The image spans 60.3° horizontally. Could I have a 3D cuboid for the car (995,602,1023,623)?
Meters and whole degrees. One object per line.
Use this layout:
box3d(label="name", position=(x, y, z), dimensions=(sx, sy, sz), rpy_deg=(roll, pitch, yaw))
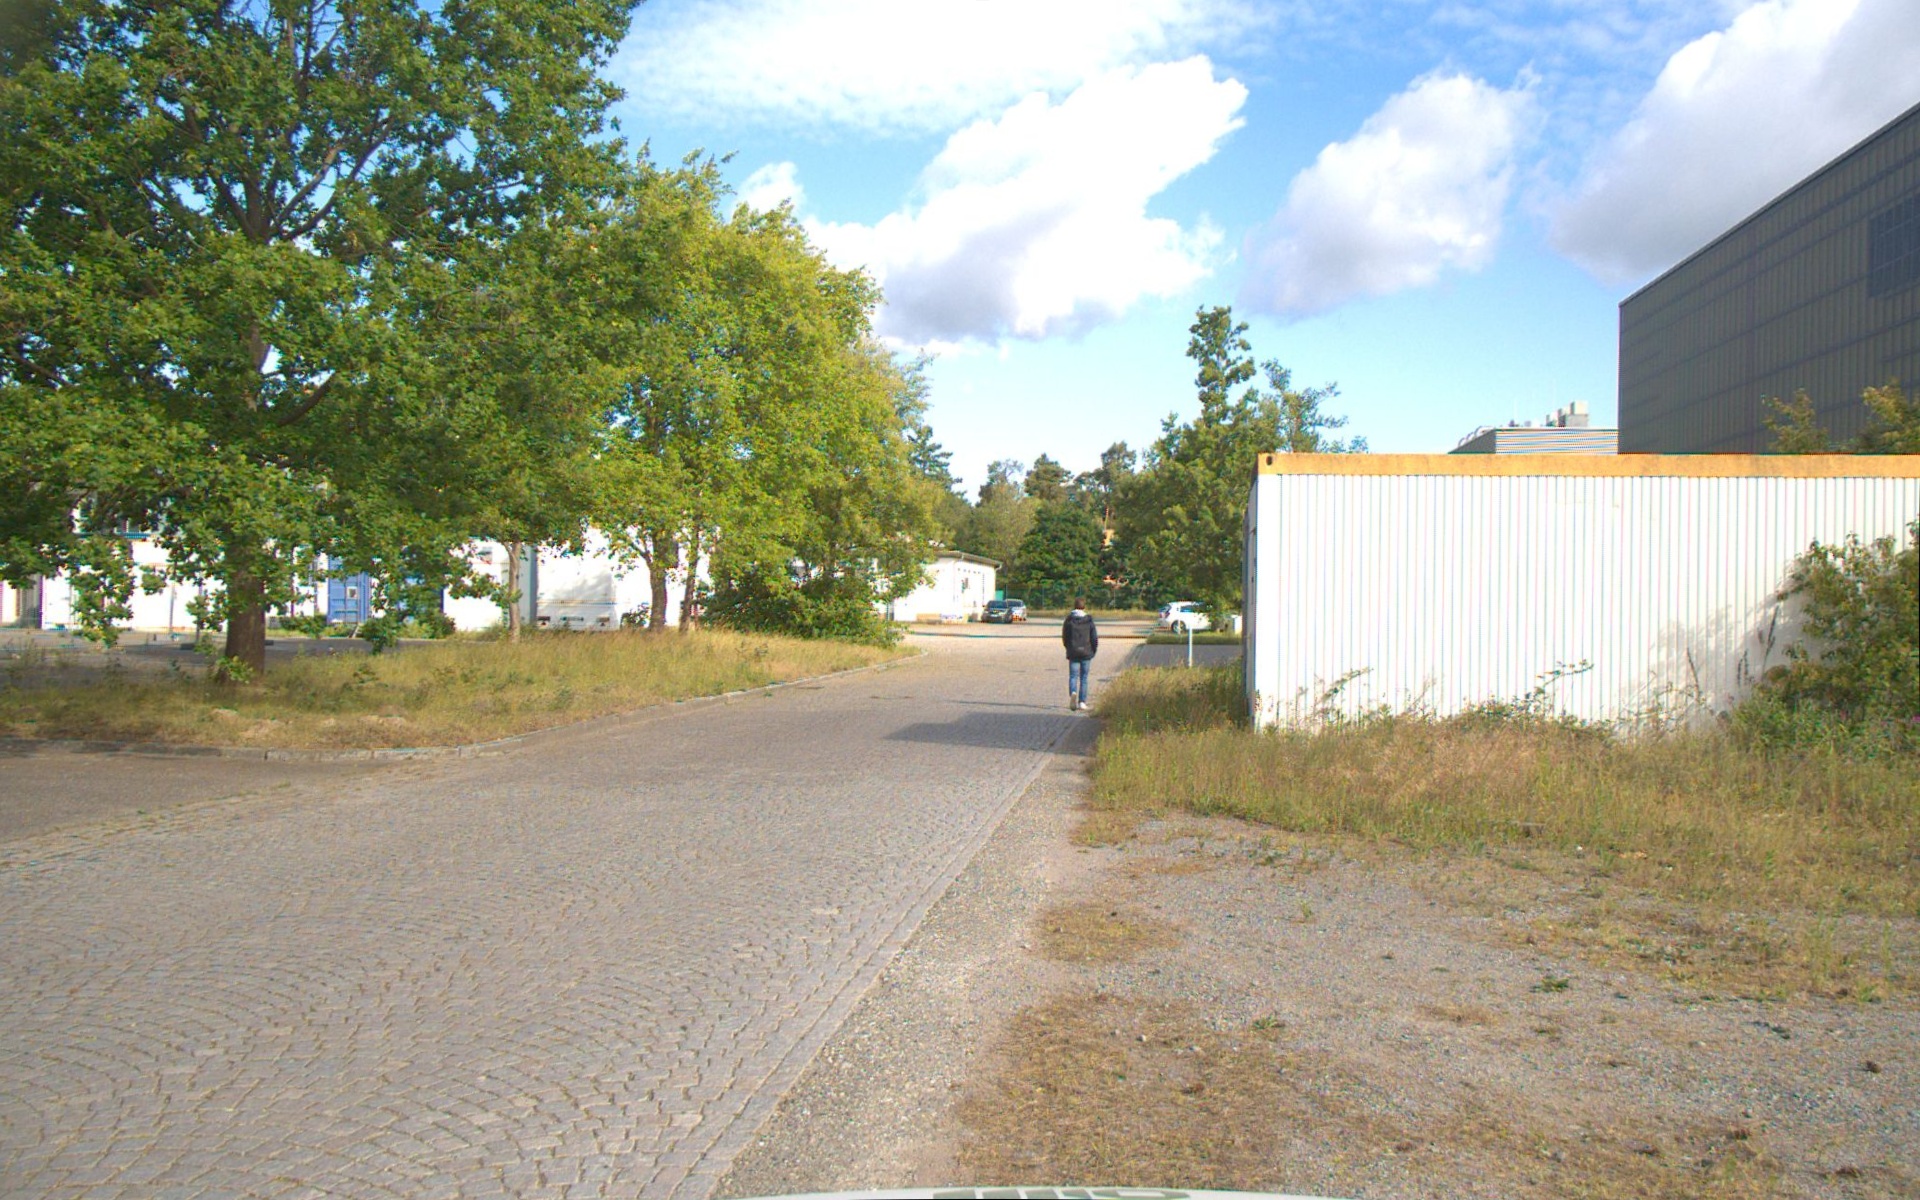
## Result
box3d(label="car", position=(3.440, 0.877, 117.008), dimensions=(1.952, 1.400, 4.000), rpy_deg=(1, 0, 1))

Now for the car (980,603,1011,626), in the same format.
box3d(label="car", position=(2.256, 0.910, 106.787), dimensions=(1.952, 1.395, 4.000), rpy_deg=(1, 0, 1))

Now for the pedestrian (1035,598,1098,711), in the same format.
box3d(label="pedestrian", position=(1.538, 0.776, 24.074), dimensions=(0.847, 1.586, 1.028), rpy_deg=(1, 0, 1))

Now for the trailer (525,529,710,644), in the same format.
box3d(label="trailer", position=(-11.377, -0.397, 56.223), dimensions=(2.855, 3.532, 9.909), rpy_deg=(1, 0, 9))

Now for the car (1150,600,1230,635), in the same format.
box3d(label="car", position=(11.705, 0.898, 84.060), dimensions=(3.902, 1.671, 2.002), rpy_deg=(1, 0, 12))

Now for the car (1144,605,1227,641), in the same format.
box3d(label="car", position=(11.131, 1.107, 81.483), dimensions=(3.902, 1.671, 2.002), rpy_deg=(1, 0, 12))
